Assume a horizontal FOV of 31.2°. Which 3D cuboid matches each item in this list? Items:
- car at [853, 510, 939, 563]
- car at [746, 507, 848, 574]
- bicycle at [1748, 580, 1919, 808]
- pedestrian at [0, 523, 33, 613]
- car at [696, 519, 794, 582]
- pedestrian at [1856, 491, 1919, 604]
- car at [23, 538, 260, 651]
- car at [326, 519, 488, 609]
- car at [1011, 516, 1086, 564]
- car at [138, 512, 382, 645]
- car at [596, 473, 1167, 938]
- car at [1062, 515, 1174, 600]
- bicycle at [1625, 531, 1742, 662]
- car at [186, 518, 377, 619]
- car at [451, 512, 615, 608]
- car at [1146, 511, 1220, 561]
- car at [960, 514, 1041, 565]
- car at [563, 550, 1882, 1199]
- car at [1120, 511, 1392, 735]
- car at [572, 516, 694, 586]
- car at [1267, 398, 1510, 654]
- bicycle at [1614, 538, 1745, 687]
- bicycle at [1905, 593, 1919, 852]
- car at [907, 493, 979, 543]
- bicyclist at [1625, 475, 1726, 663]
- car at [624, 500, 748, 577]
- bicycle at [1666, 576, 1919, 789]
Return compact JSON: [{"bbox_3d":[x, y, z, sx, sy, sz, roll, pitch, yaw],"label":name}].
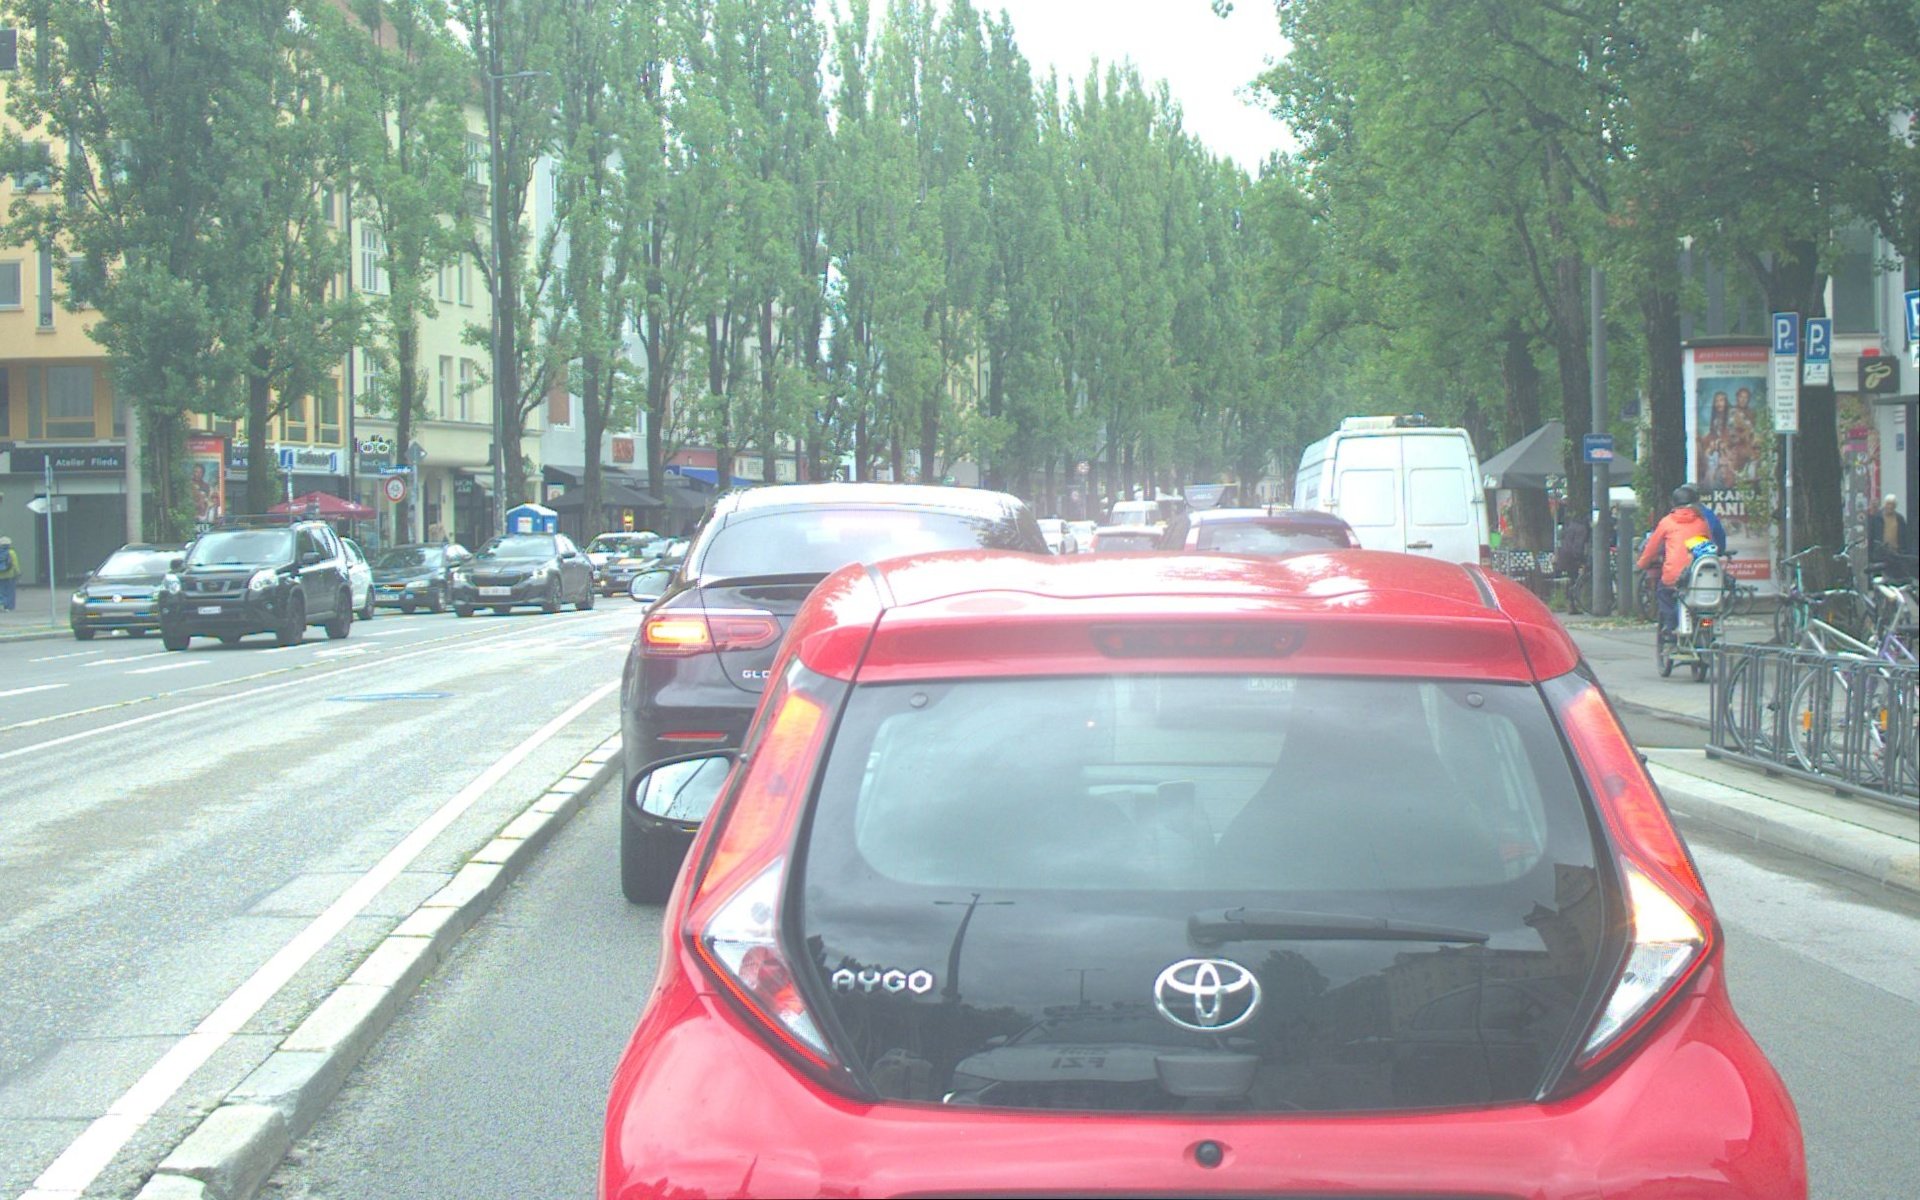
[{"bbox_3d":[-2.151,-2.165,116.312,1.994,1.686,4.412,-1,1,11],"label":"car"},{"bbox_3d":[-4.272,-1.593,90.806,1.994,1.686,4.920,-1,1,6],"label":"car"},{"bbox_3d":[5.009,0.474,17.536,1.836,1.132,0.585,0,2,35],"label":"bicycle"},{"bbox_3d":[-21.089,-0.709,76.542,0.687,1.990,0.765,-1,1,-1],"label":"pedestrian"},{"bbox_3d":[-6.085,-1.428,97.734,1.994,1.686,4.920,-1,1,6],"label":"car"},{"bbox_3d":[13.327,-0.754,49.283,0.764,1.588,0.676,-1,1,-1],"label":"pedestrian"},{"bbox_3d":[-12.745,-0.118,53.809,1.994,1.604,4.531,-1,2,9],"label":"car"},{"bbox_3d":[-11.053,-0.749,69.082,1.994,1.686,4.920,-1,1,6],"label":"car"},{"bbox_3d":[3.245,-2.203,125.587,1.994,1.686,4.412,-1,1,11],"label":"car"},{"bbox_3d":[-9.469,-0.341,46.907,1.994,1.686,4.921,-1,1,4],"label":"car"},{"bbox_3d":[-0.337,0.322,14.131,1.993,1.612,4.001,-1,1,-2],"label":"car"},{"bbox_3d":[2.747,-0.771,60.241,1.699,1.421,3.497,-1,1,-1],"label":"car"},{"bbox_3d":[7.330,-0.058,34.938,0.614,1.260,2.520,-1,2,-1],"label":"bicycle"},{"bbox_3d":[-12.071,-0.595,61.476,1.994,1.686,4.920,-1,1,6],"label":"car"},{"bbox_3d":[-7.919,-0.776,64.230,1.994,1.686,4.920,-1,2,6],"label":"car"},{"bbox_3d":[6.721,-1.926,103.406,1.773,1.434,3.937,-1,2,10],"label":"car"},{"bbox_3d":[1.421,-2.086,118.091,1.994,1.686,4.412,-1,1,11],"label":"car"},{"bbox_3d":[0.304,0.670,5.777,1.605,1.456,3.130,1,1,0],"label":"car"},{"bbox_3d":[2.208,0.124,26.466,1.702,1.584,3.556,-1,1,-1],"label":"car"},{"bbox_3d":[-8.238,-1.261,87.072,1.994,1.686,4.920,-1,1,8],"label":"car"},{"bbox_3d":[4.797,-0.849,39.184,2.107,2.709,4.804,-1,1,0],"label":"car"},{"bbox_3d":[6.493,0.090,31.121,0.614,1.260,2.520,-1,2,-1],"label":"bicycle"},{"bbox_3d":[5.073,0.536,14.808,1.836,1.132,0.585,0,2,35],"label":"bicycle"},{"bbox_3d":[-0.661,-3.257,135.835,1.994,1.927,4.412,0,1,11],"label":"car"},{"bbox_3d":[6.476,-0.292,31.157,0.614,1.652,1.251,-1,1,-1],"label":"bicyclist"},{"bbox_3d":[-6.310,-1.461,79.616,1.994,1.686,4.920,-1,2,6],"label":"car"},{"bbox_3d":[4.885,0.439,19.001,1.836,1.132,0.585,0,2,35],"label":"bicycle"}]
